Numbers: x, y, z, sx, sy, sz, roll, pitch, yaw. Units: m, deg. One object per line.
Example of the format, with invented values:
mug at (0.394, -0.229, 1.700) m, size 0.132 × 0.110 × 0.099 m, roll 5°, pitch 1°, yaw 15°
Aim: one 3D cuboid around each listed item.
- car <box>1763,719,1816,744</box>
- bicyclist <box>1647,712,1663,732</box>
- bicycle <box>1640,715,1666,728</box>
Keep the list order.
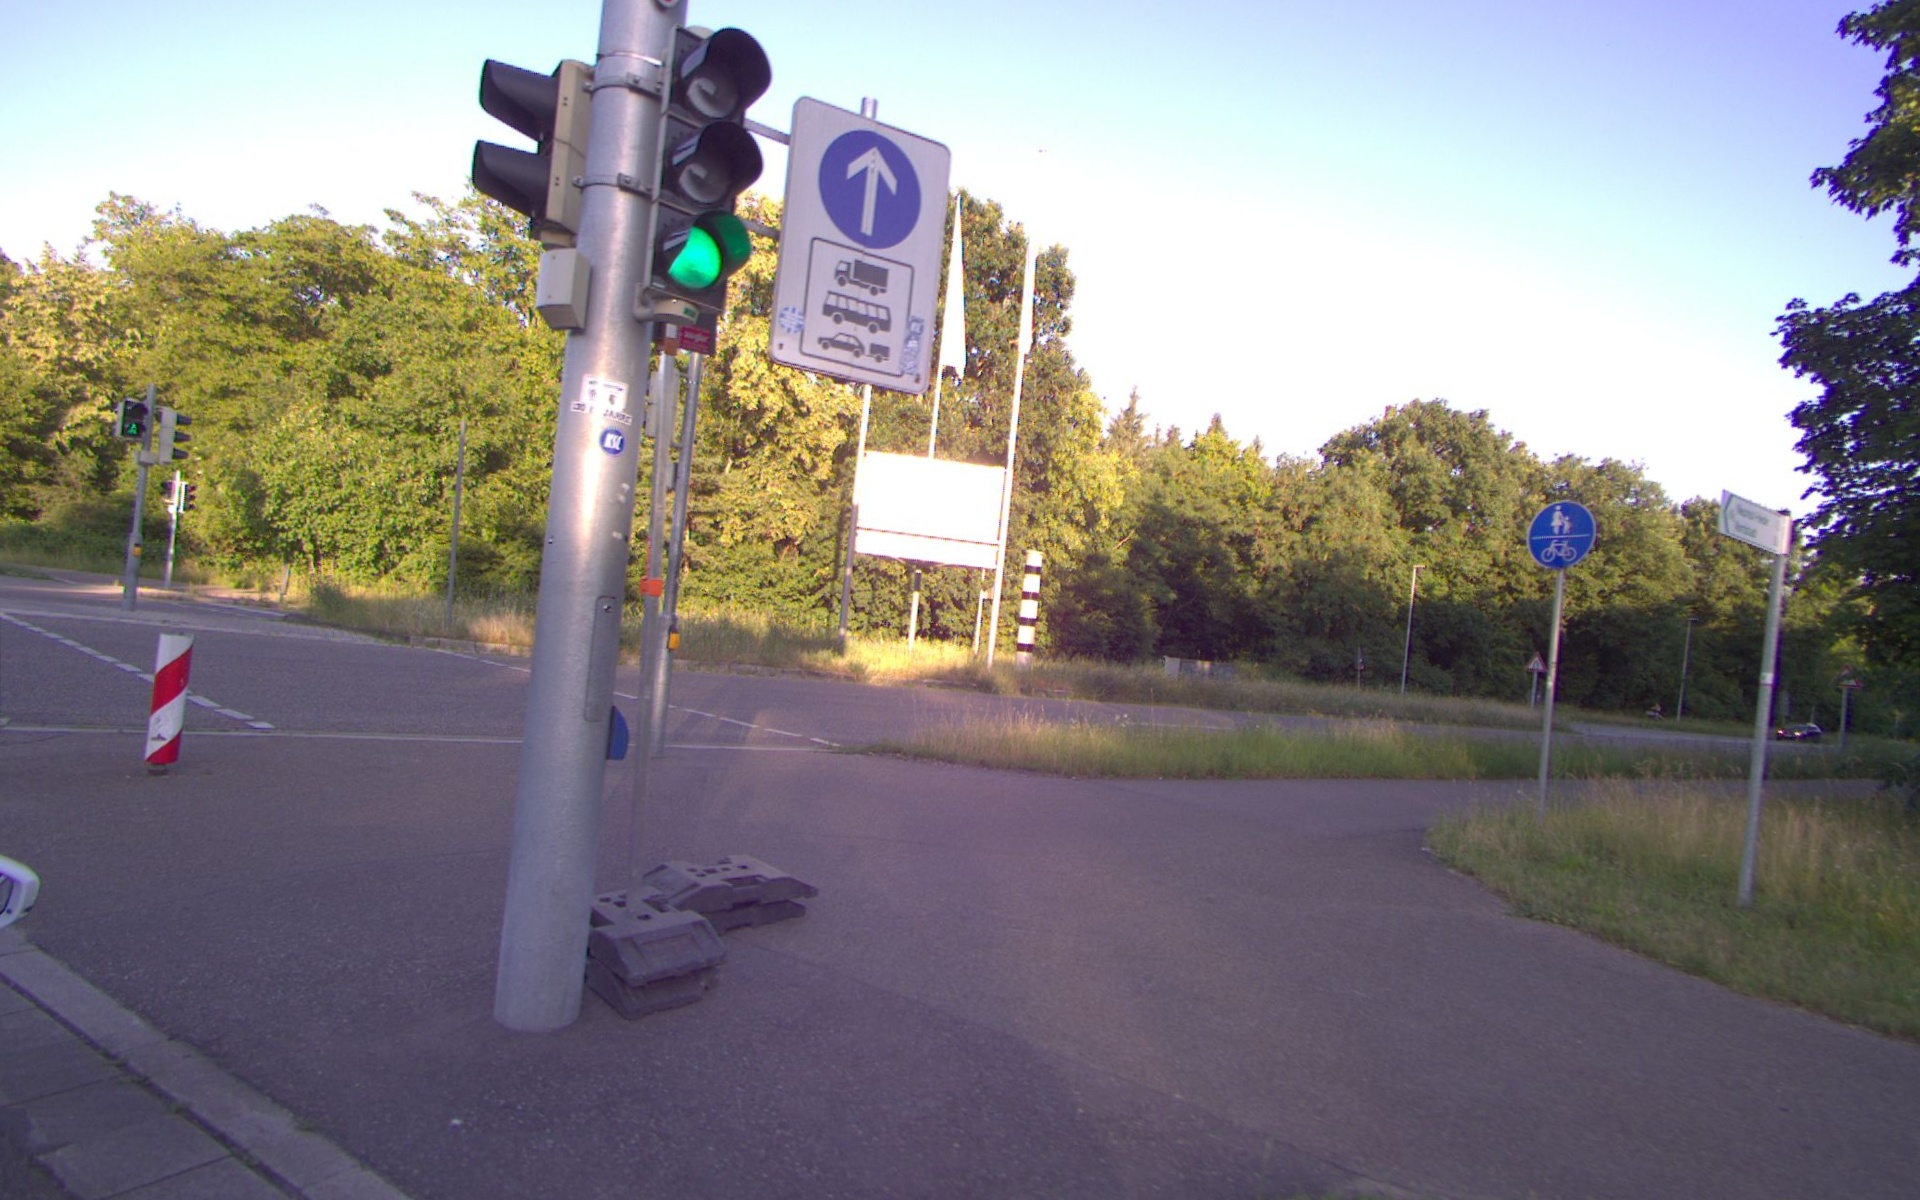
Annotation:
car at (62.187, 9.858, 75.367) m, size 4.412 × 1.551 × 1.811 m, roll 7°, pitch -3°, yaw -34°
bicyclist at (53.850, 9.441, 77.959) m, size 0.810 × 1.447 × 0.585 m, roll 6°, pitch -1°, yaw -20°
bicycle at (53.675, 9.417, 77.939) m, size 1.931 × 0.814 × 0.585 m, roll 7°, pitch -1°, yaw -20°
